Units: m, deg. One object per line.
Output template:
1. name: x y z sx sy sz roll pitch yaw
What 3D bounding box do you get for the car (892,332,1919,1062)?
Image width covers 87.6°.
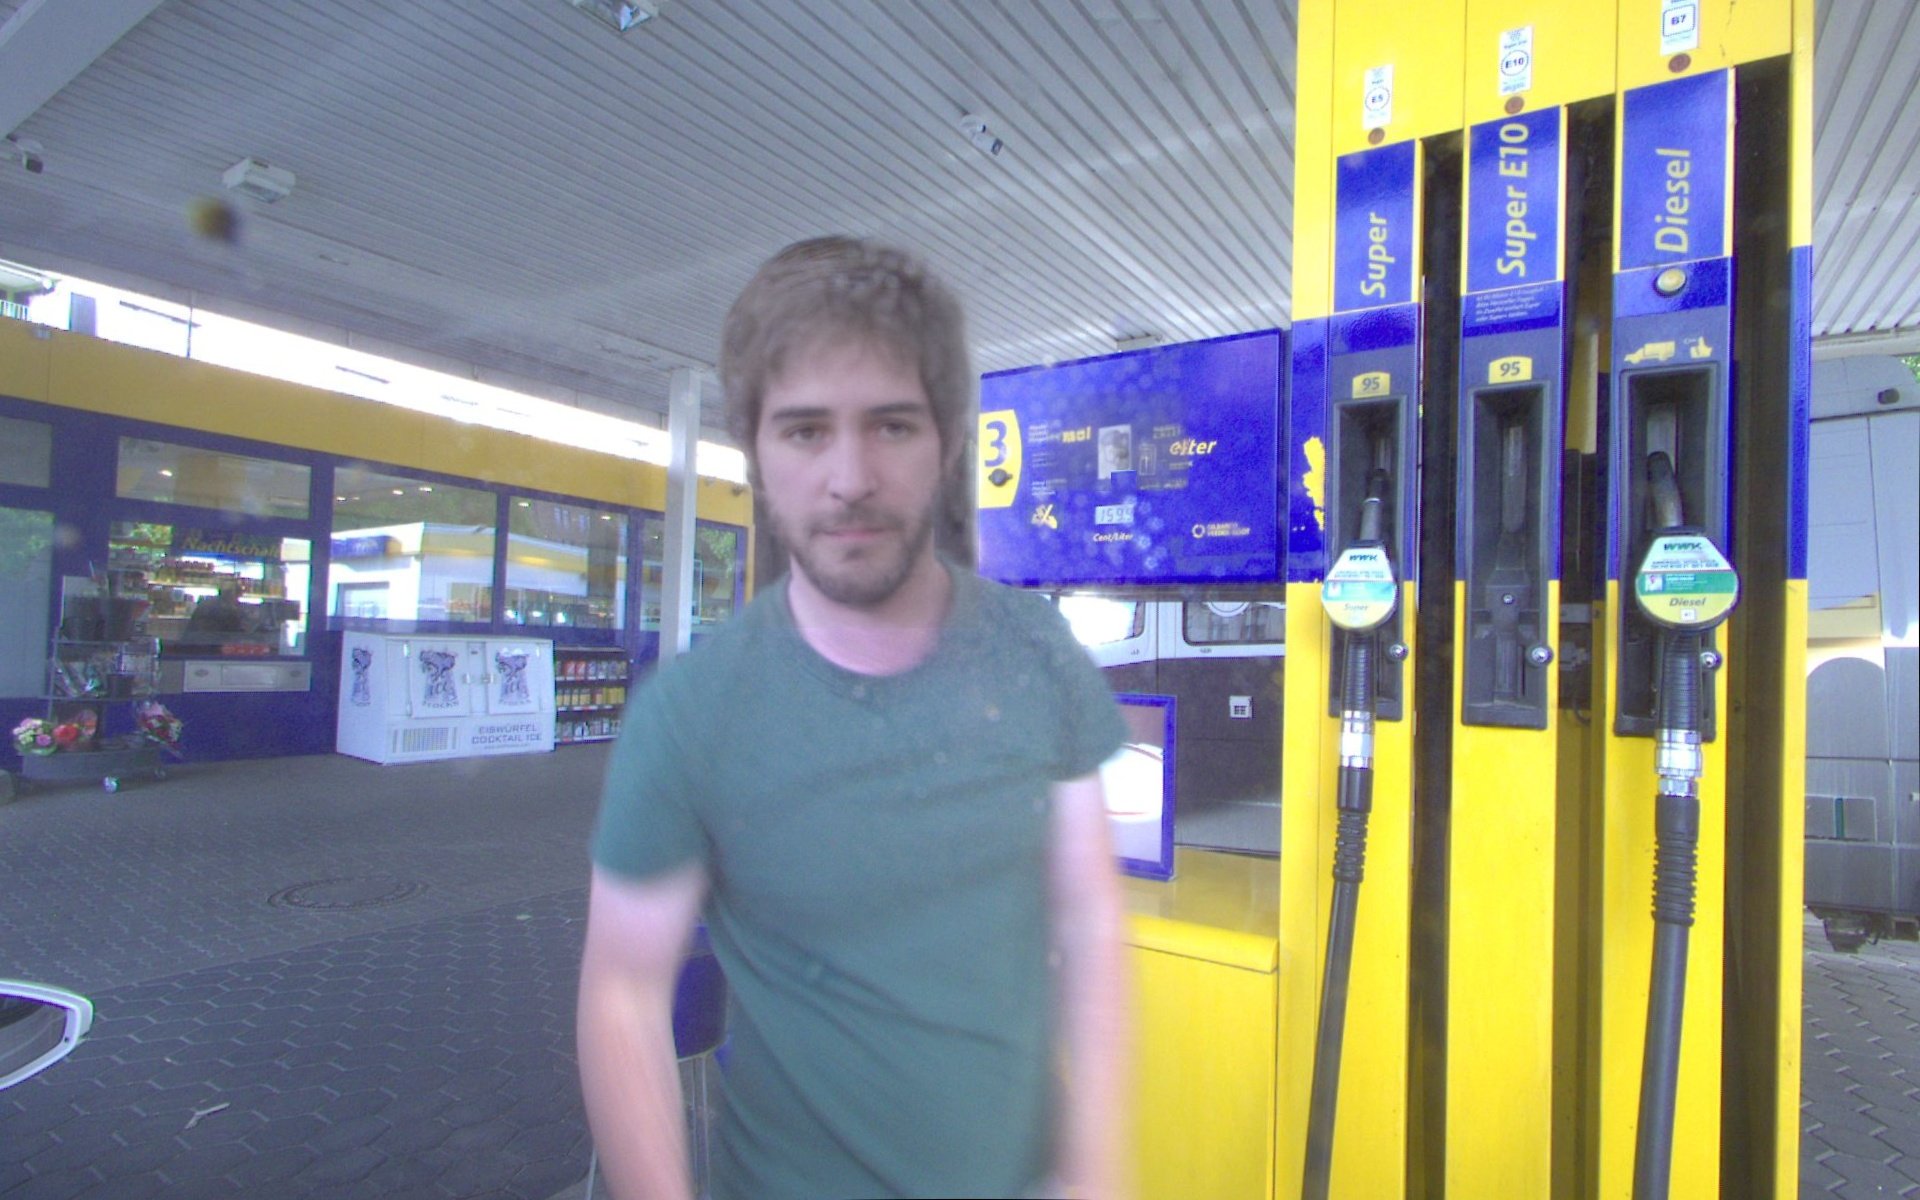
1. car: 2.352 0.444 5.997 5.271 2.759 2.193 -1 -3 34

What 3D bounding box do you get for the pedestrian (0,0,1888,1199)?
1. pedestrian: -0.074 0.589 0.911 0.981 1.750 1.176 0 -2 -34
